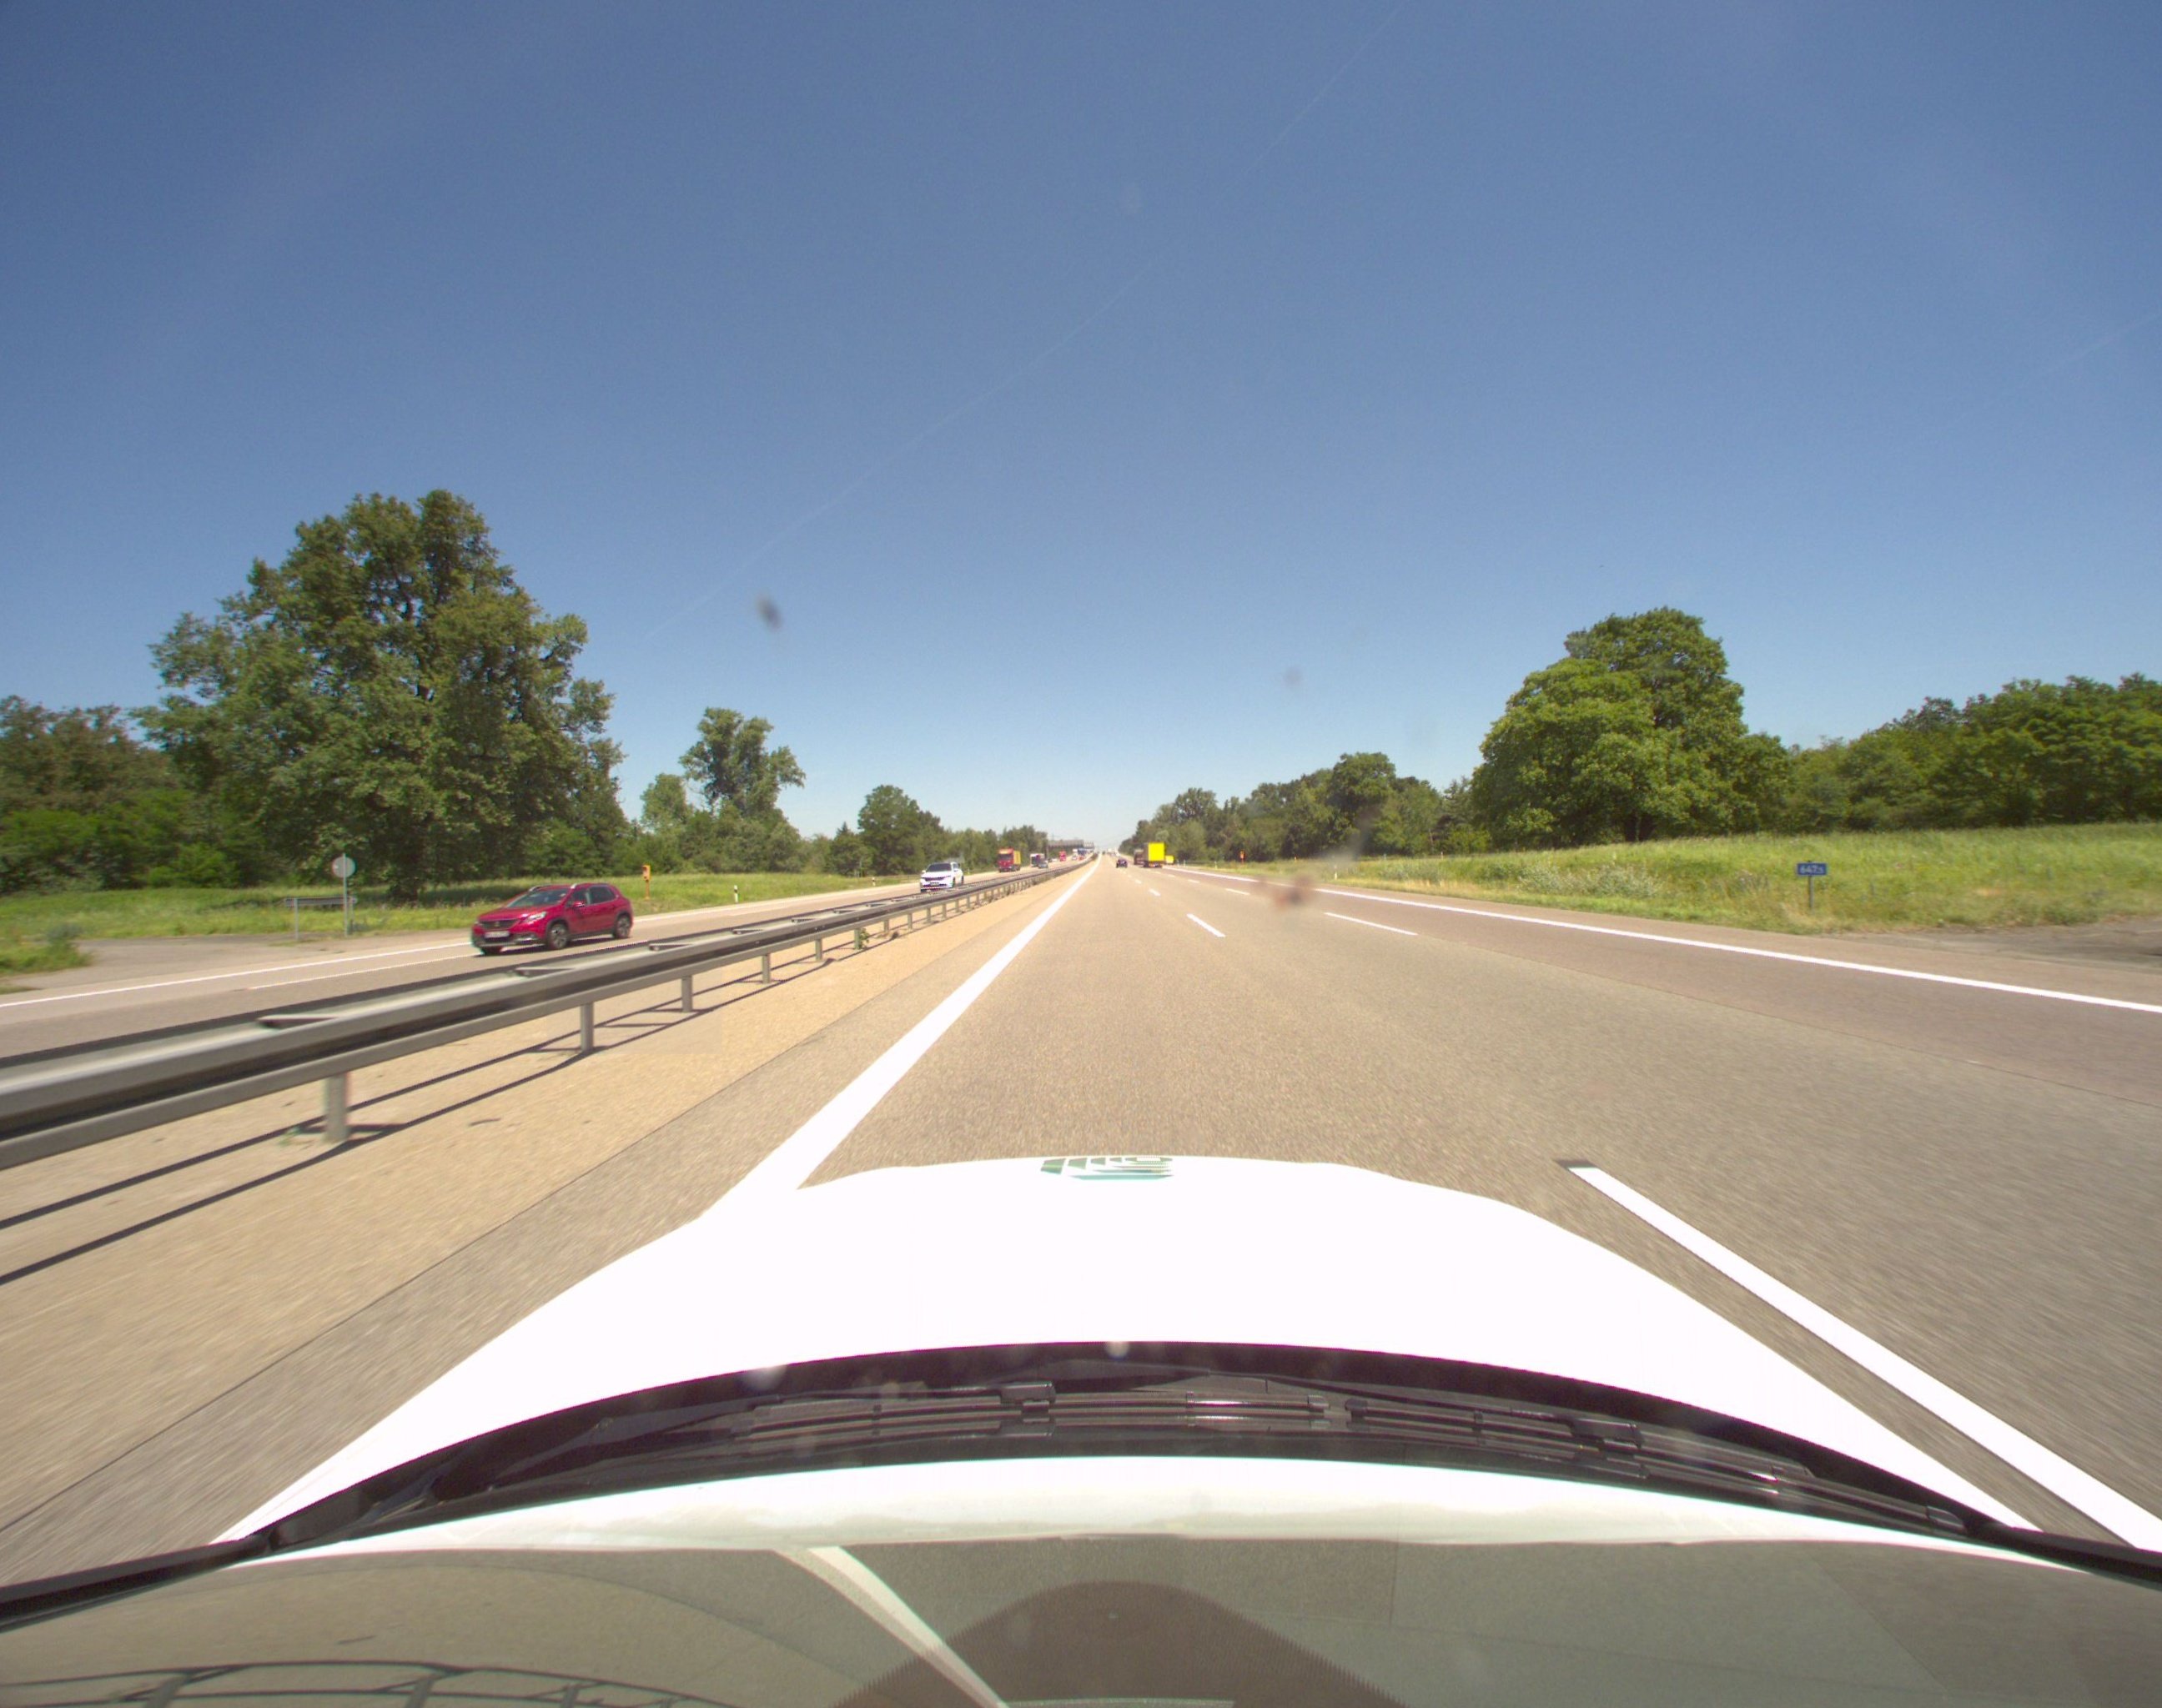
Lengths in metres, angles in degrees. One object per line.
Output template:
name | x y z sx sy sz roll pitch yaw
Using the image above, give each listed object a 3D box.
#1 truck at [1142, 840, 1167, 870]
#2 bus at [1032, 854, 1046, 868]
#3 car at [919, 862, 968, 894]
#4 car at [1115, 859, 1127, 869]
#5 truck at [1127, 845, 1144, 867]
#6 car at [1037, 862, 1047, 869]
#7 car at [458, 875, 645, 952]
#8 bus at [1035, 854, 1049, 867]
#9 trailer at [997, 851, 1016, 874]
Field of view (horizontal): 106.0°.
truck | 12.284 0.192 137.289 3.363 4.881 15.094 0 0 2
bus | -10.853 1.721 210.915 2.753 3.447 8.935 -2 0 2
car | -8.000 1.353 47.787 1.804 1.692 5.126 -2 0 2
car | 6.702 1.712 136.621 1.820 1.706 4.001 0 0 1
truck | 12.381 0.537 186.136 3.353 4.881 15.094 0 0 2
car | -8.100 2.379 170.407 1.715 1.380 4.786 -5 -1 0
car | -12.694 1.362 19.876 1.756 1.495 4.076 -3 0 1
bus | -10.556 1.777 220.440 2.753 3.447 10.149 -2 0 2
trailer | -13.033 1.476 143.213 2.593 3.992 6.031 0 0 2
